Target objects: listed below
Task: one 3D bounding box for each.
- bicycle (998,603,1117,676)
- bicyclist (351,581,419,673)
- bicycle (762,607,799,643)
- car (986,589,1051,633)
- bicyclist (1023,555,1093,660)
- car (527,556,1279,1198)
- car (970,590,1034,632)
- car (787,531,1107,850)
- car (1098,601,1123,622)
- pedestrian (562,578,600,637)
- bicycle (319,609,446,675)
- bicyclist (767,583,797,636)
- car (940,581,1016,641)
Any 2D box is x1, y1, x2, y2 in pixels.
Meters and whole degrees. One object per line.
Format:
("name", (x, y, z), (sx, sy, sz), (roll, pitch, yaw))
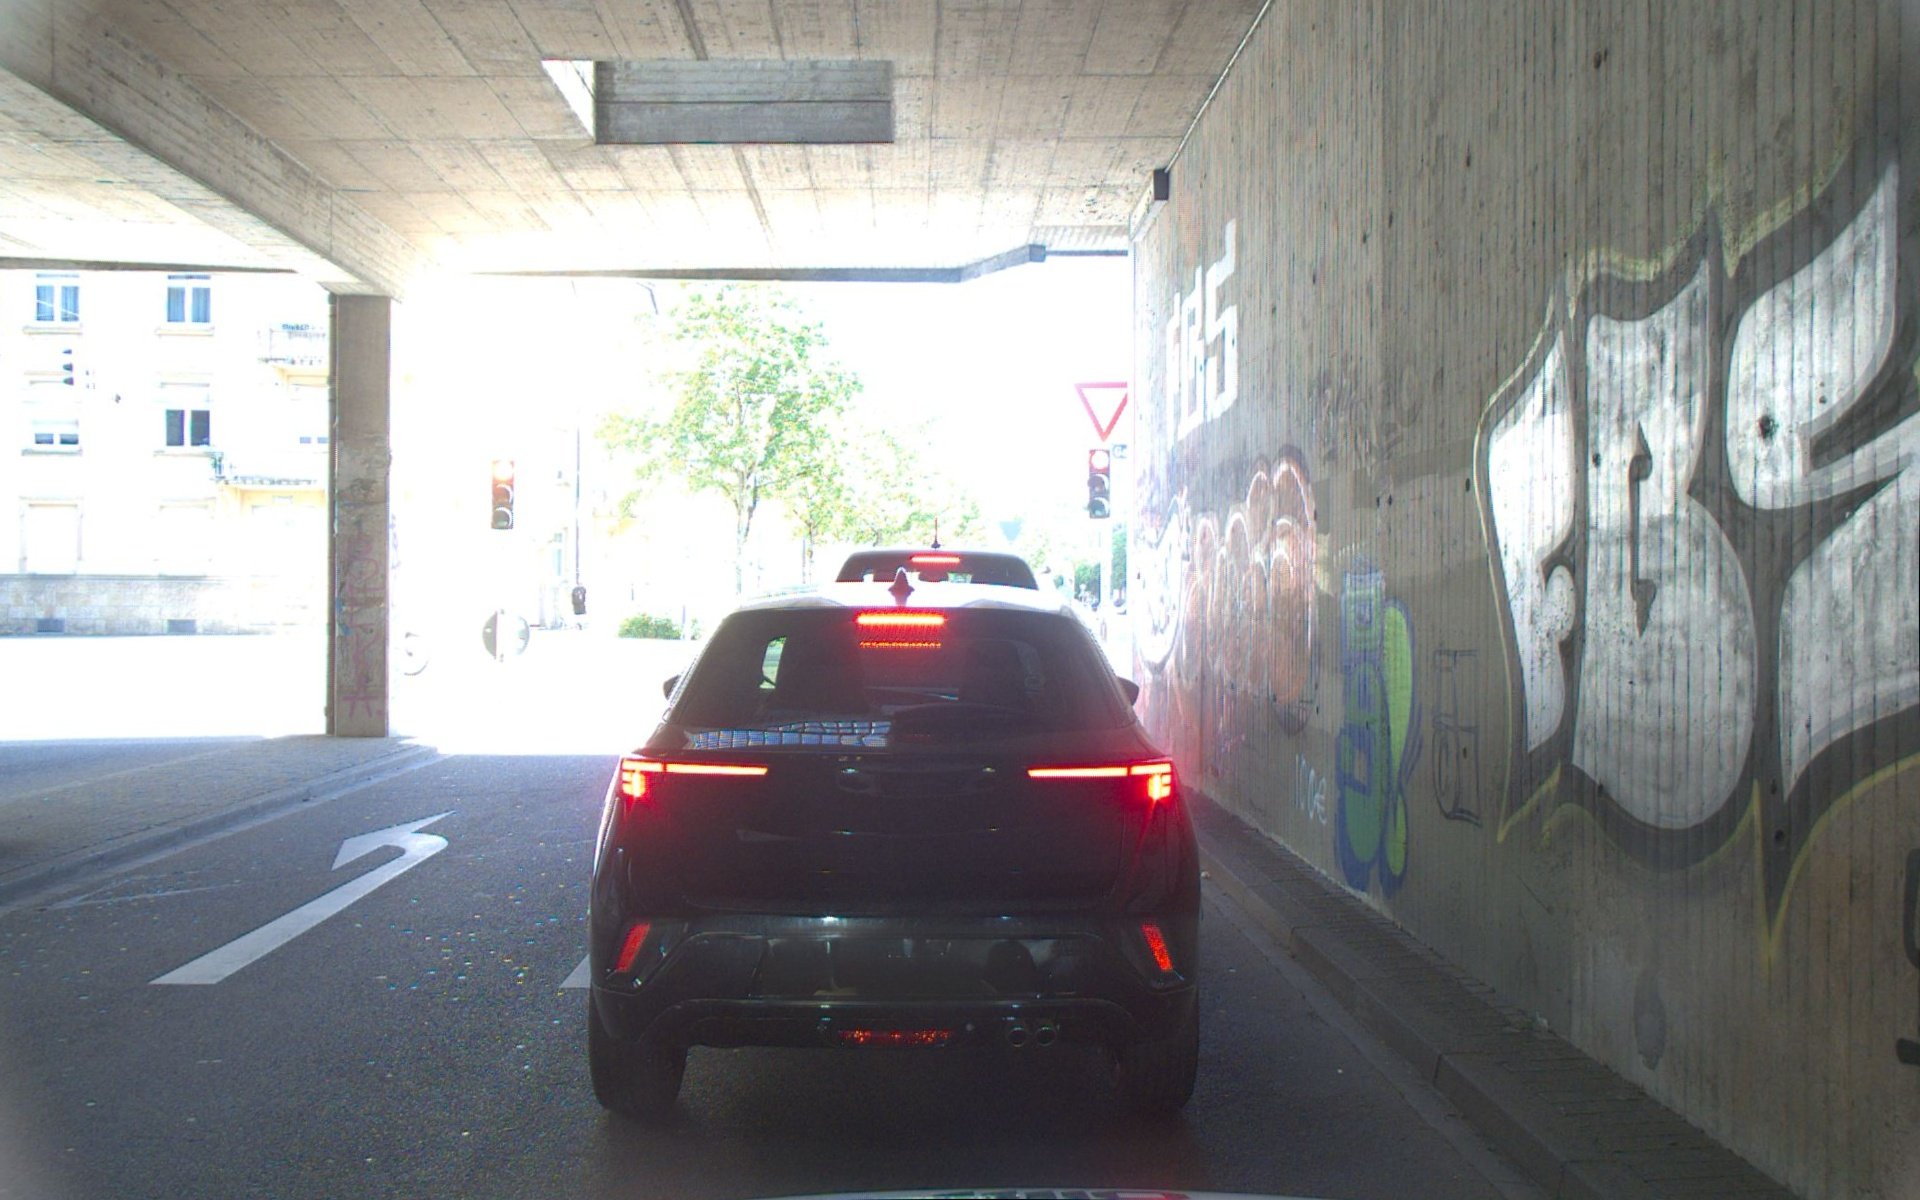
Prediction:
("bicycle", (1.575, 0.626, 26.619), (1.863, 1.134, 0.611), (1, 0, 6))
("bicyclist", (-9.474, 0.434, 27.289), (0.852, 1.477, 0.745), (-1, 0, -3))
("bicycle", (-5.561, 0.763, 51.418), (0.716, 1.086, 1.690), (1, 0, 9))
("car", (2.465, 0.477, 69.033), (2.173, 1.749, 4.463), (0, -1, 9))
("bicyclist", (1.589, 0.121, 26.650), (1.070, 1.647, 0.630), (1, -1, 6))
("car", (-0.164, 0.668, 6.055), (1.844, 1.565, 3.963), (0, 0, -1))
("car", (1.619, 0.435, 62.211), (1.926, 1.523, 3.899), (0, -1, 8))
("car", (-0.104, 0.528, 11.880), (1.906, 1.892, 3.963), (0, 0, -1))
("car", (12.905, 0.994, 141.741), (1.951, 1.691, 4.003), (1, 0, 8))
("pedestrian", (-13.283, 0.271, 57.941), (0.971, 2.049, 1.089), (0, 0, 7))
("bicycle", (-9.511, 0.688, 27.277), (1.818, 1.026, 0.745), (-1, 0, -3))
("bicyclist", (-5.542, 0.298, 51.451), (0.713, 1.609, 0.815), (1, -1, 9))
("car", (0.492, 0.330, 44.174), (1.927, 1.523, 3.896), (0, -1, 1))
